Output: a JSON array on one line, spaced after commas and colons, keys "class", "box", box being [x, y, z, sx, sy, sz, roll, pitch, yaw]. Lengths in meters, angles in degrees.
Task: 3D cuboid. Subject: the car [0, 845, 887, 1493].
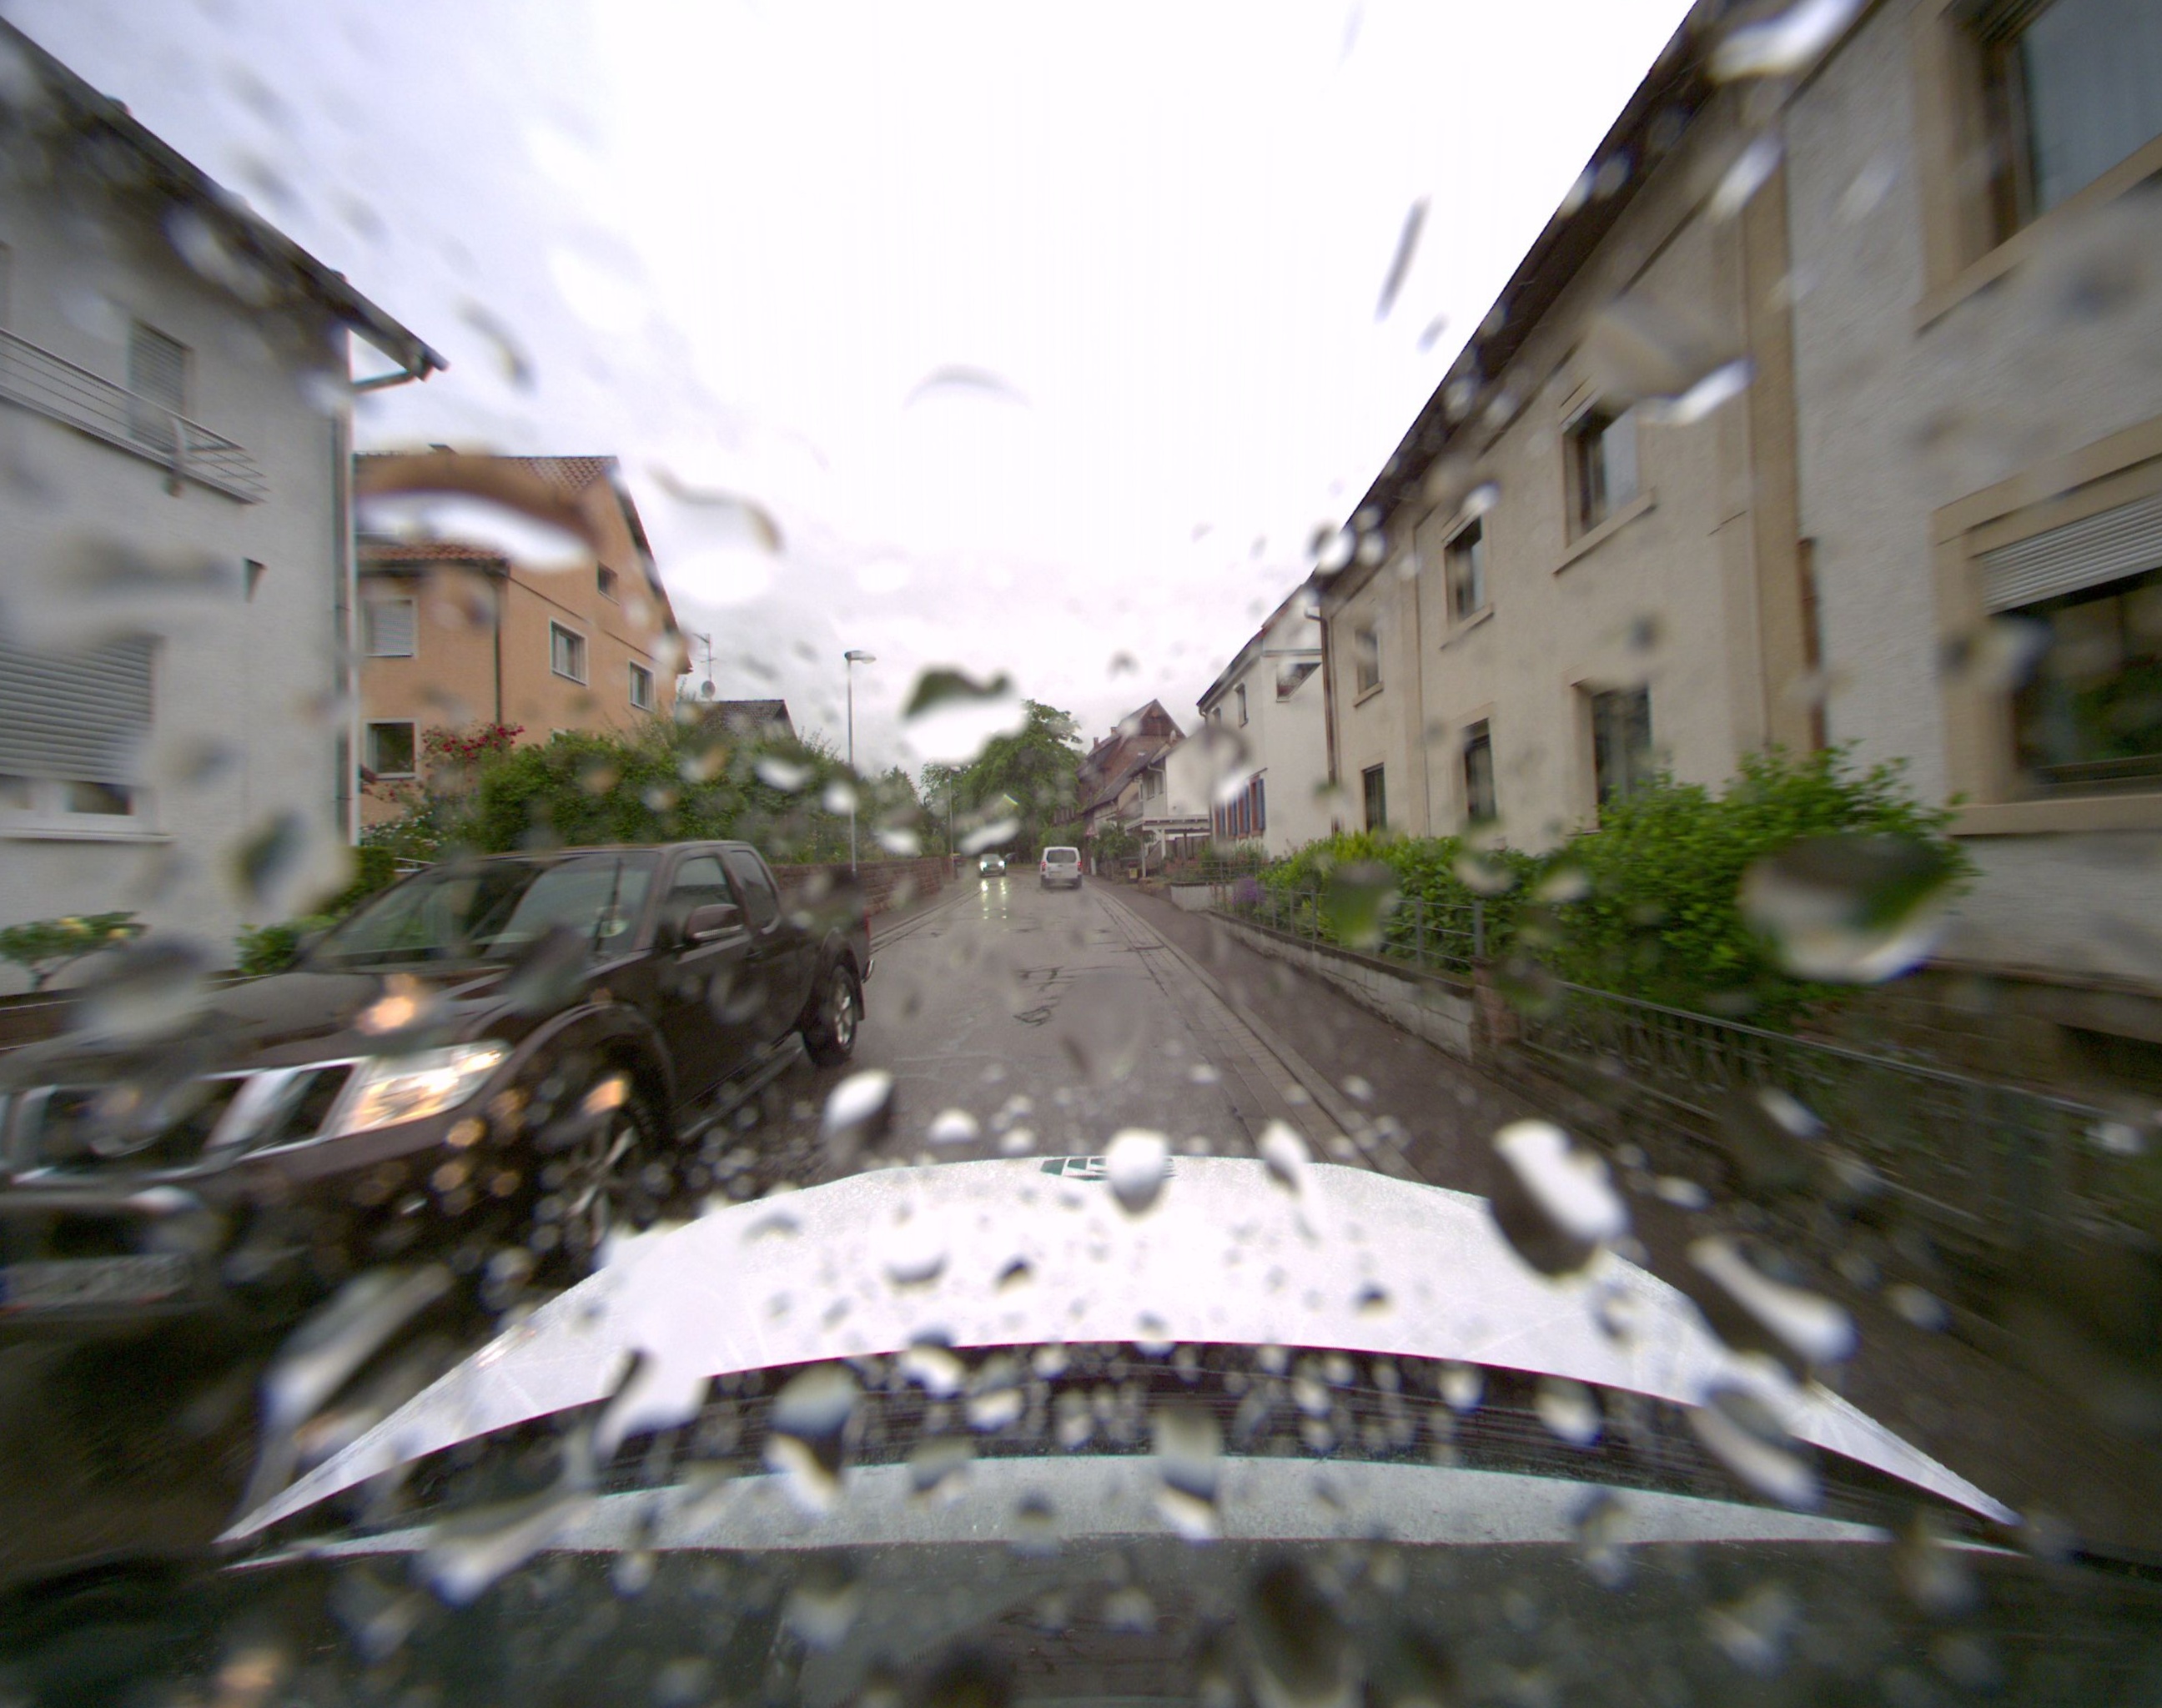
[{"class": "car", "box": [-2.697, 0.876, 4.816, 1.829, 1.673, 5.195, -4, 0, -1]}]

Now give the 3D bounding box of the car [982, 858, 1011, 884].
[{"class": "car", "box": [-5.766, 1.106, 55.365, 1.699, 1.546, 3.840, -5, 1, -8]}]

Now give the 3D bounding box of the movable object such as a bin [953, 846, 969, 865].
[{"class": "movable object such as a bin", "box": [-16.017, 0.217, 108.689, 1.763, 2.548, 4.221, -1, 0, -12]}]

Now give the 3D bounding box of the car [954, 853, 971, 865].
[{"class": "car", "box": [-14.113, 0.610, 96.725, 1.710, 1.377, 3.983, -1, 0, -12]}]

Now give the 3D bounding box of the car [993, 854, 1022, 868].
[{"class": "car", "box": [-9.503, 0.921, 105.427, 1.601, 1.551, 3.636, -3, 0, 39]}]

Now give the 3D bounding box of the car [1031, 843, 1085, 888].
[{"class": "car", "box": [-1.096, 0.453, 36.514, 1.896, 1.806, 3.989, -3, 1, -8]}]
